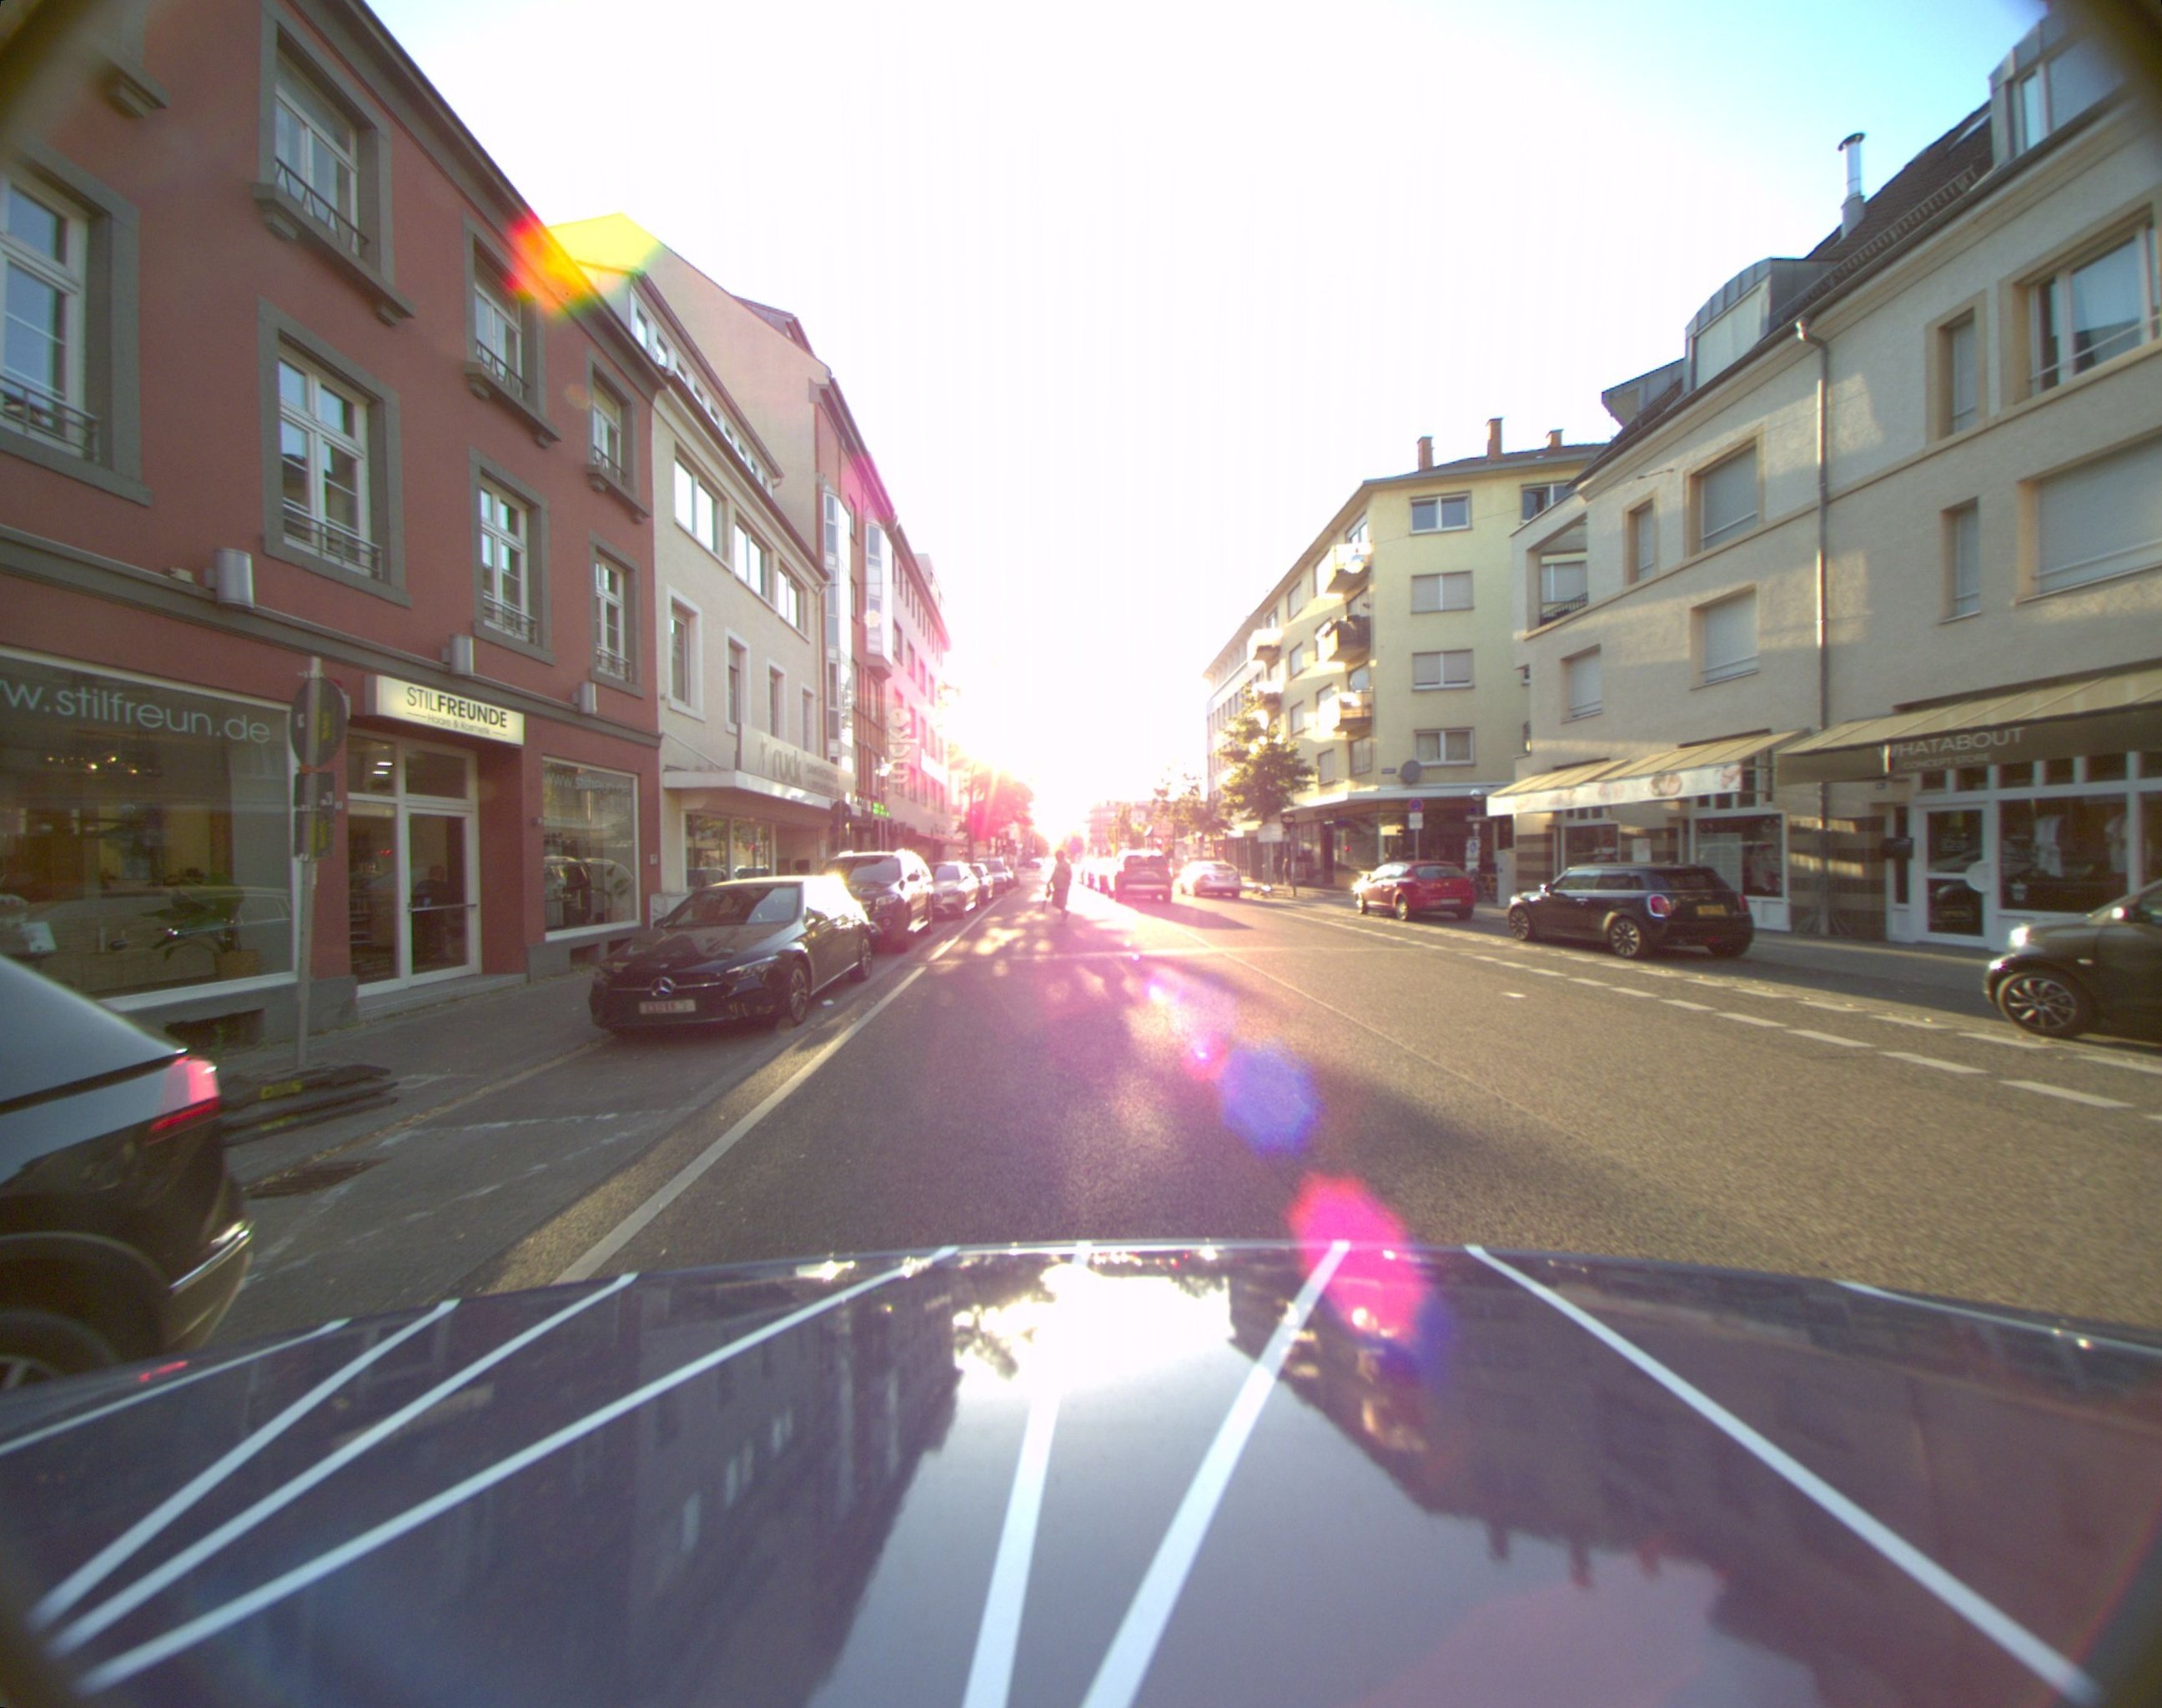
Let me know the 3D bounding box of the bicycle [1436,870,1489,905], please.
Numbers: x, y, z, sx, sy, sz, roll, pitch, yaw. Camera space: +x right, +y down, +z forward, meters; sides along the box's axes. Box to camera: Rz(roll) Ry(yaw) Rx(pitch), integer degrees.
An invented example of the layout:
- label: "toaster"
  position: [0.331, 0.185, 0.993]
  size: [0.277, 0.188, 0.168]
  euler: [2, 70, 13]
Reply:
- label: "bicycle"
  position: [11.993, 1.037, 23.939]
  size: [0.491, 0.986, 2.015]
  euler: [-2, 1, -4]

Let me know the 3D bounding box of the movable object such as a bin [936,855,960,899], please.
- label: "movable object such as a bin"
  position: [-5.587, 0.937, 32.049]
  size: [0.837, 1.763, 1.352]
  euler: [-2, 1, -6]

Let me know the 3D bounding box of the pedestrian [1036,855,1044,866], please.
- label: "pedestrian"
  position: [-6.420, 1.006, 119.163]
  size: [0.905, 1.666, 0.780]
  euler: [-2, 1, 9]

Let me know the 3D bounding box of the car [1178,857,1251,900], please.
- label: "car"
  position: [5.351, 0.946, 31.120]
  size: [1.999, 1.503, 4.508]
  euler: [2, 1, -2]

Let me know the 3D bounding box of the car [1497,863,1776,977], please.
- label: "car"
  position: [8.744, 0.936, 12.412]
  size: [1.715, 1.445, 3.724]
  euler: [-2, 1, -2]

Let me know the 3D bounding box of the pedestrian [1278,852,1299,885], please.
- label: "pedestrian"
  position: [10.540, 0.730, 38.542]
  size: [0.768, 1.666, 0.744]
  euler: [-1, 1, 40]

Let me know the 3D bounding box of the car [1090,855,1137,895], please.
- label: "car"
  position: [1.351, 0.858, 33.070]
  size: [1.728, 1.540, 4.463]
  euler: [0, 1, -2]

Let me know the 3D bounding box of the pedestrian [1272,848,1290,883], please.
- label: "pedestrian"
  position: [10.785, 0.640, 40.989]
  size: [0.769, 1.836, 0.743]
  euler: [-1, -1, 7]

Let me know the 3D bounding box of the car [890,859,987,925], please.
- label: "car"
  position: [-3.929, 0.995, 21.837]
  size: [1.816, 1.518, 4.992]
  euler: [-2, 1, 0]

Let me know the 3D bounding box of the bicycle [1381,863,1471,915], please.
- label: "bicycle"
  position: [9.900, 0.962, 22.004]
  size: [0.961, 1.293, 3.125]
  euler: [-2, 1, -4]

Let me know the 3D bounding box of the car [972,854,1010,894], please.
- label: "car"
  position: [-4.322, 0.960, 36.983]
  size: [1.659, 1.768, 4.010]
  euler: [-2, 0, -5]

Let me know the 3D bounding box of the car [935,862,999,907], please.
- label: "car"
  position: [-4.062, 1.050, 27.688]
  size: [1.757, 1.412, 4.508]
  euler: [-2, 0, -2]

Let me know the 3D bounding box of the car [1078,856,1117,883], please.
- label: "car"
  position: [0.940, 0.944, 46.295]
  size: [1.964, 1.538, 4.508]
  euler: [-1, -1, -4]

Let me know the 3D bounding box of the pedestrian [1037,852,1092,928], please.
- label: "pedestrian"
  position: [-0.381, 0.800, 17.310]
  size: [0.908, 1.666, 0.991]
  euler: [-1, 0, -26]

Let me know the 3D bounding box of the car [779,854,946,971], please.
- label: "car"
  position: [-3.928, 0.924, 14.644]
  size: [1.888, 1.744, 5.057]
  euler: [-2, 1, -3]

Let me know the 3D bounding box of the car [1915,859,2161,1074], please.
- label: "car"
  position: [8.887, 0.843, 5.640]
  size: [1.797, 1.526, 3.187]
  euler: [-2, 1, -5]

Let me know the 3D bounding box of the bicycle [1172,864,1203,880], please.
- label: "bicycle"
  position: [7.230, 1.202, 51.505]
  size: [2.015, 0.986, 0.491]
  euler: [-2, 1, -6]

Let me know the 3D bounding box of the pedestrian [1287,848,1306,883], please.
- label: "pedestrian"
  position: [11.265, 0.620, 39.779]
  size: [0.742, 1.808, 0.813]
  euler: [0, 0, 0]

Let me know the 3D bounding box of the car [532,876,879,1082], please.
- label: "car"
  position: [-3.679, 1.097, 8.465]
  size: [1.767, 1.475, 4.305]
  euler: [-2, 1, -2]

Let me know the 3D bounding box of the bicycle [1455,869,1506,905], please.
- label: "bicycle"
  position: [12.547, 1.014, 23.902]
  size: [0.491, 0.986, 2.015]
  euler: [-2, 1, -1]

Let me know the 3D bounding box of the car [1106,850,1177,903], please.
- label: "car"
  position: [1.977, 0.686, 26.130]
  size: [1.946, 1.635, 4.737]
  euler: [0, 1, -2]

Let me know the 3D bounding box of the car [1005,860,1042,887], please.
- label: "car"
  position: [-3.264, 1.085, 43.197]
  size: [1.942, 1.368, 4.181]
  euler: [-2, 0, -4]

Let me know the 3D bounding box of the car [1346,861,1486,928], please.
- label: "car"
  position: [8.356, 0.948, 19.344]
  size: [1.665, 1.394, 3.882]
  euler: [-2, 1, -3]

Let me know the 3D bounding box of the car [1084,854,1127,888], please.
- label: "car"
  position: [1.240, 0.849, 40.117]
  size: [1.951, 1.635, 4.614]
  euler: [0, 1, -2]
